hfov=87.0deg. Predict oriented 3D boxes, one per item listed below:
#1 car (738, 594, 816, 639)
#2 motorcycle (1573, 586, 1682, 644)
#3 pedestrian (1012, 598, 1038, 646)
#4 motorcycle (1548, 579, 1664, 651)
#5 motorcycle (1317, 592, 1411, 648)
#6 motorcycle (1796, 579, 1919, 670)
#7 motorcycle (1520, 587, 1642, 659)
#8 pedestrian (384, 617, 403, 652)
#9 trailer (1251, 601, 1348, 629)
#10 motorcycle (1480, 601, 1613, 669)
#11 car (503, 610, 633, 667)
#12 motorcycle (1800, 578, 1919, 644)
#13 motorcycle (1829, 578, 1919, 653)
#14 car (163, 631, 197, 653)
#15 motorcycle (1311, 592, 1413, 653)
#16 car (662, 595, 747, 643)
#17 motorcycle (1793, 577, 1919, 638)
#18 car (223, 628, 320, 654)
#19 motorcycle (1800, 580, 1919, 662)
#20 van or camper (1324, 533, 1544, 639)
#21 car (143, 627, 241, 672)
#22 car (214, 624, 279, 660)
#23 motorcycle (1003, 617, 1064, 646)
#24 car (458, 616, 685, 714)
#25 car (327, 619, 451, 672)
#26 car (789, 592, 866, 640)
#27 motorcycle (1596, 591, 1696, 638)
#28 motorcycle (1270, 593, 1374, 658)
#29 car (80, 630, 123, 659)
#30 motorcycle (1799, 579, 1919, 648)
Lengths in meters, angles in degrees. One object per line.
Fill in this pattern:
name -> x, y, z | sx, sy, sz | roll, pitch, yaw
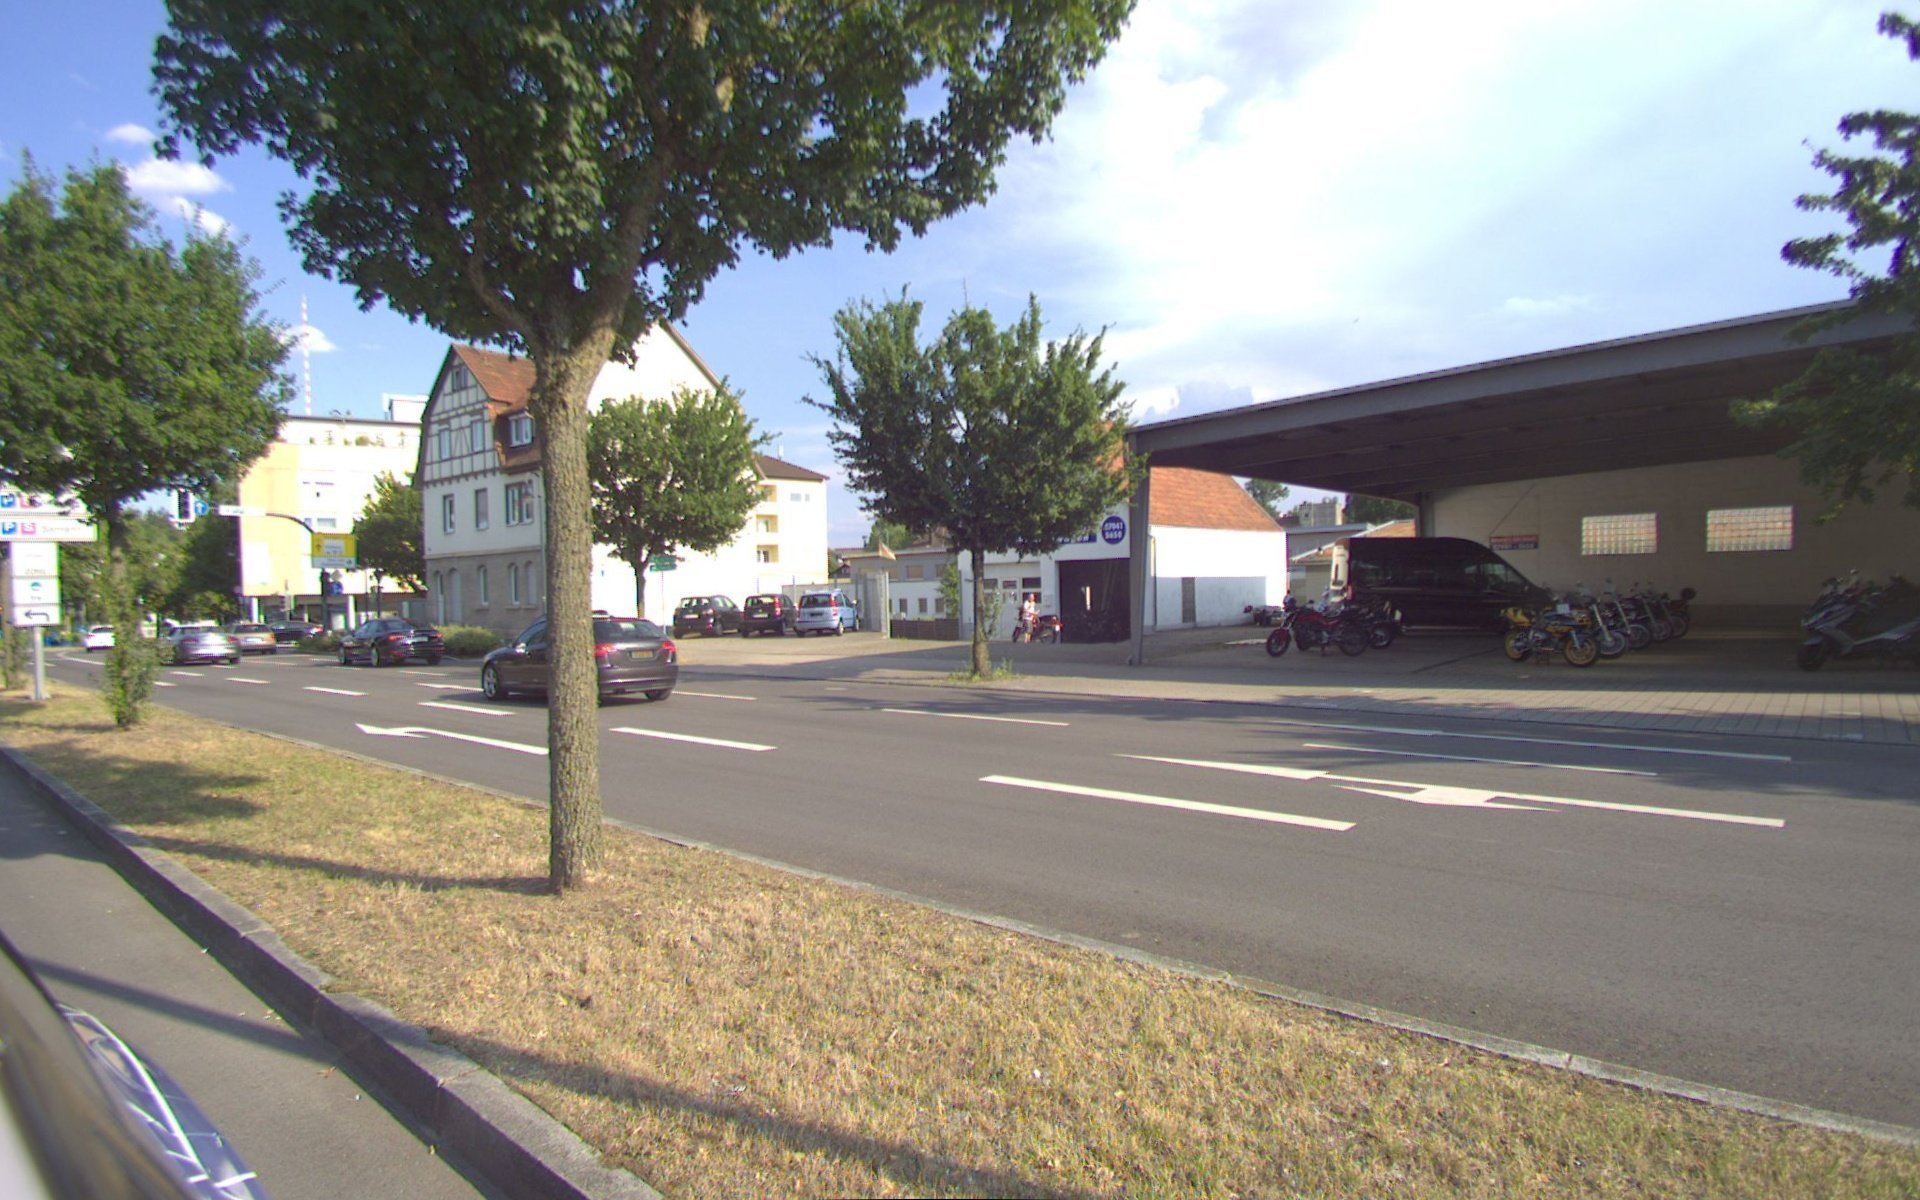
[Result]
car -> -6.685, 0.583, 37.354 | 1.746, 1.564, 3.992 | -1, 0, 7
motorcycle -> 15.440, 0.340, 23.484 | 0.636, 1.268, 2.161 | -1, 0, -19
pedestrian -> 2.115, 0.711, 32.860 | 0.649, 1.535, 0.668 | -1, 0, 24
motorcycle -> 13.798, 0.304, 21.699 | 0.584, 1.459, 2.161 | -1, 0, -19
motorcycle -> 9.792, 0.485, 24.555 | 1.982, 1.321, 0.649 | -1, 0, 5
motorcycle -> 13.888, 0.359, 15.134 | 2.093, 1.317, 0.561 | -1, 0, 12
motorcycle -> 12.117, 0.435, 19.847 | 0.553, 1.340, 2.161 | -1, 0, -19
pedestrian -> -32.083, 1.945, 57.316 | 0.693, 1.997, 0.586 | -1, 0, 13
trailer -> 12.516, 0.527, 37.258 | 2.449, 0.831, 3.152 | -1, 2, 38
motorcycle -> 10.444, 0.603, 18.134 | 0.620, 1.132, 2.161 | -1, 0, -19
car -> -11.738, 1.104, 30.162 | 4.193, 1.454, 1.816 | -1, 3, 41
motorcycle -> 18.960, 0.230, 21.175 | 2.068, 1.317, 0.561 | -1, 0, 12
motorcycle -> 17.101, 0.272, 18.261 | 2.068, 1.317, 0.621 | -1, 0, 12
car -> -58.723, 3.155, 76.227 | 1.783, 1.508, 4.256 | -1, 0, -35
motorcycle -> 9.025, 0.493, 22.775 | 1.982, 1.321, 0.649 | -1, 0, 5
car -> -9.473, 0.665, 37.809 | 1.747, 1.563, 3.992 | -2, 1, 7
motorcycle -> 19.914, 0.174, 22.530 | 2.068, 1.317, 0.561 | -1, 0, 12
car -> -41.233, 2.426, 60.667 | 4.594, 1.364, 1.770 | -1, 0, -41
motorcycle -> 15.269, 0.339, 16.741 | 2.068, 1.317, 0.561 | -1, 0, 12
van or camper -> 12.782, -0.348, 27.577 | 4.979, 2.700, 1.995 | -1, 0, 8
car -> -26.021, 1.619, 34.230 | 4.476, 1.359, 1.762 | -1, 0, 41
car -> -31.479, 1.814, 44.599 | 1.666, 1.473, 4.715 | -1, 0, -44
motorcycle -> 2.401, 1.023, 33.354 | 2.212, 0.927, 0.500 | -1, 0, 45
car -> -6.450, 0.983, 16.610 | 4.186, 1.397, 1.628 | -1, 0, 40
car -> -17.276, 1.325, 30.527 | 4.642, 1.432, 1.824 | -1, 0, 41
car -> -4.602, 0.530, 35.738 | 1.746, 1.564, 3.992 | -1, 0, 7
motorcycle -> 17.207, 0.354, 25.439 | 0.553, 1.131, 2.161 | -1, 0, -19
motorcycle -> 7.556, 0.538, 21.191 | 1.991, 1.321, 0.665 | -1, 0, 18
car -> -48.221, 2.467, 56.898 | 1.778, 1.508, 3.962 | -1, 0, -40
motorcycle -> 17.970, 0.266, 19.998 | 2.068, 1.317, 0.581 | -1, 0, 12
